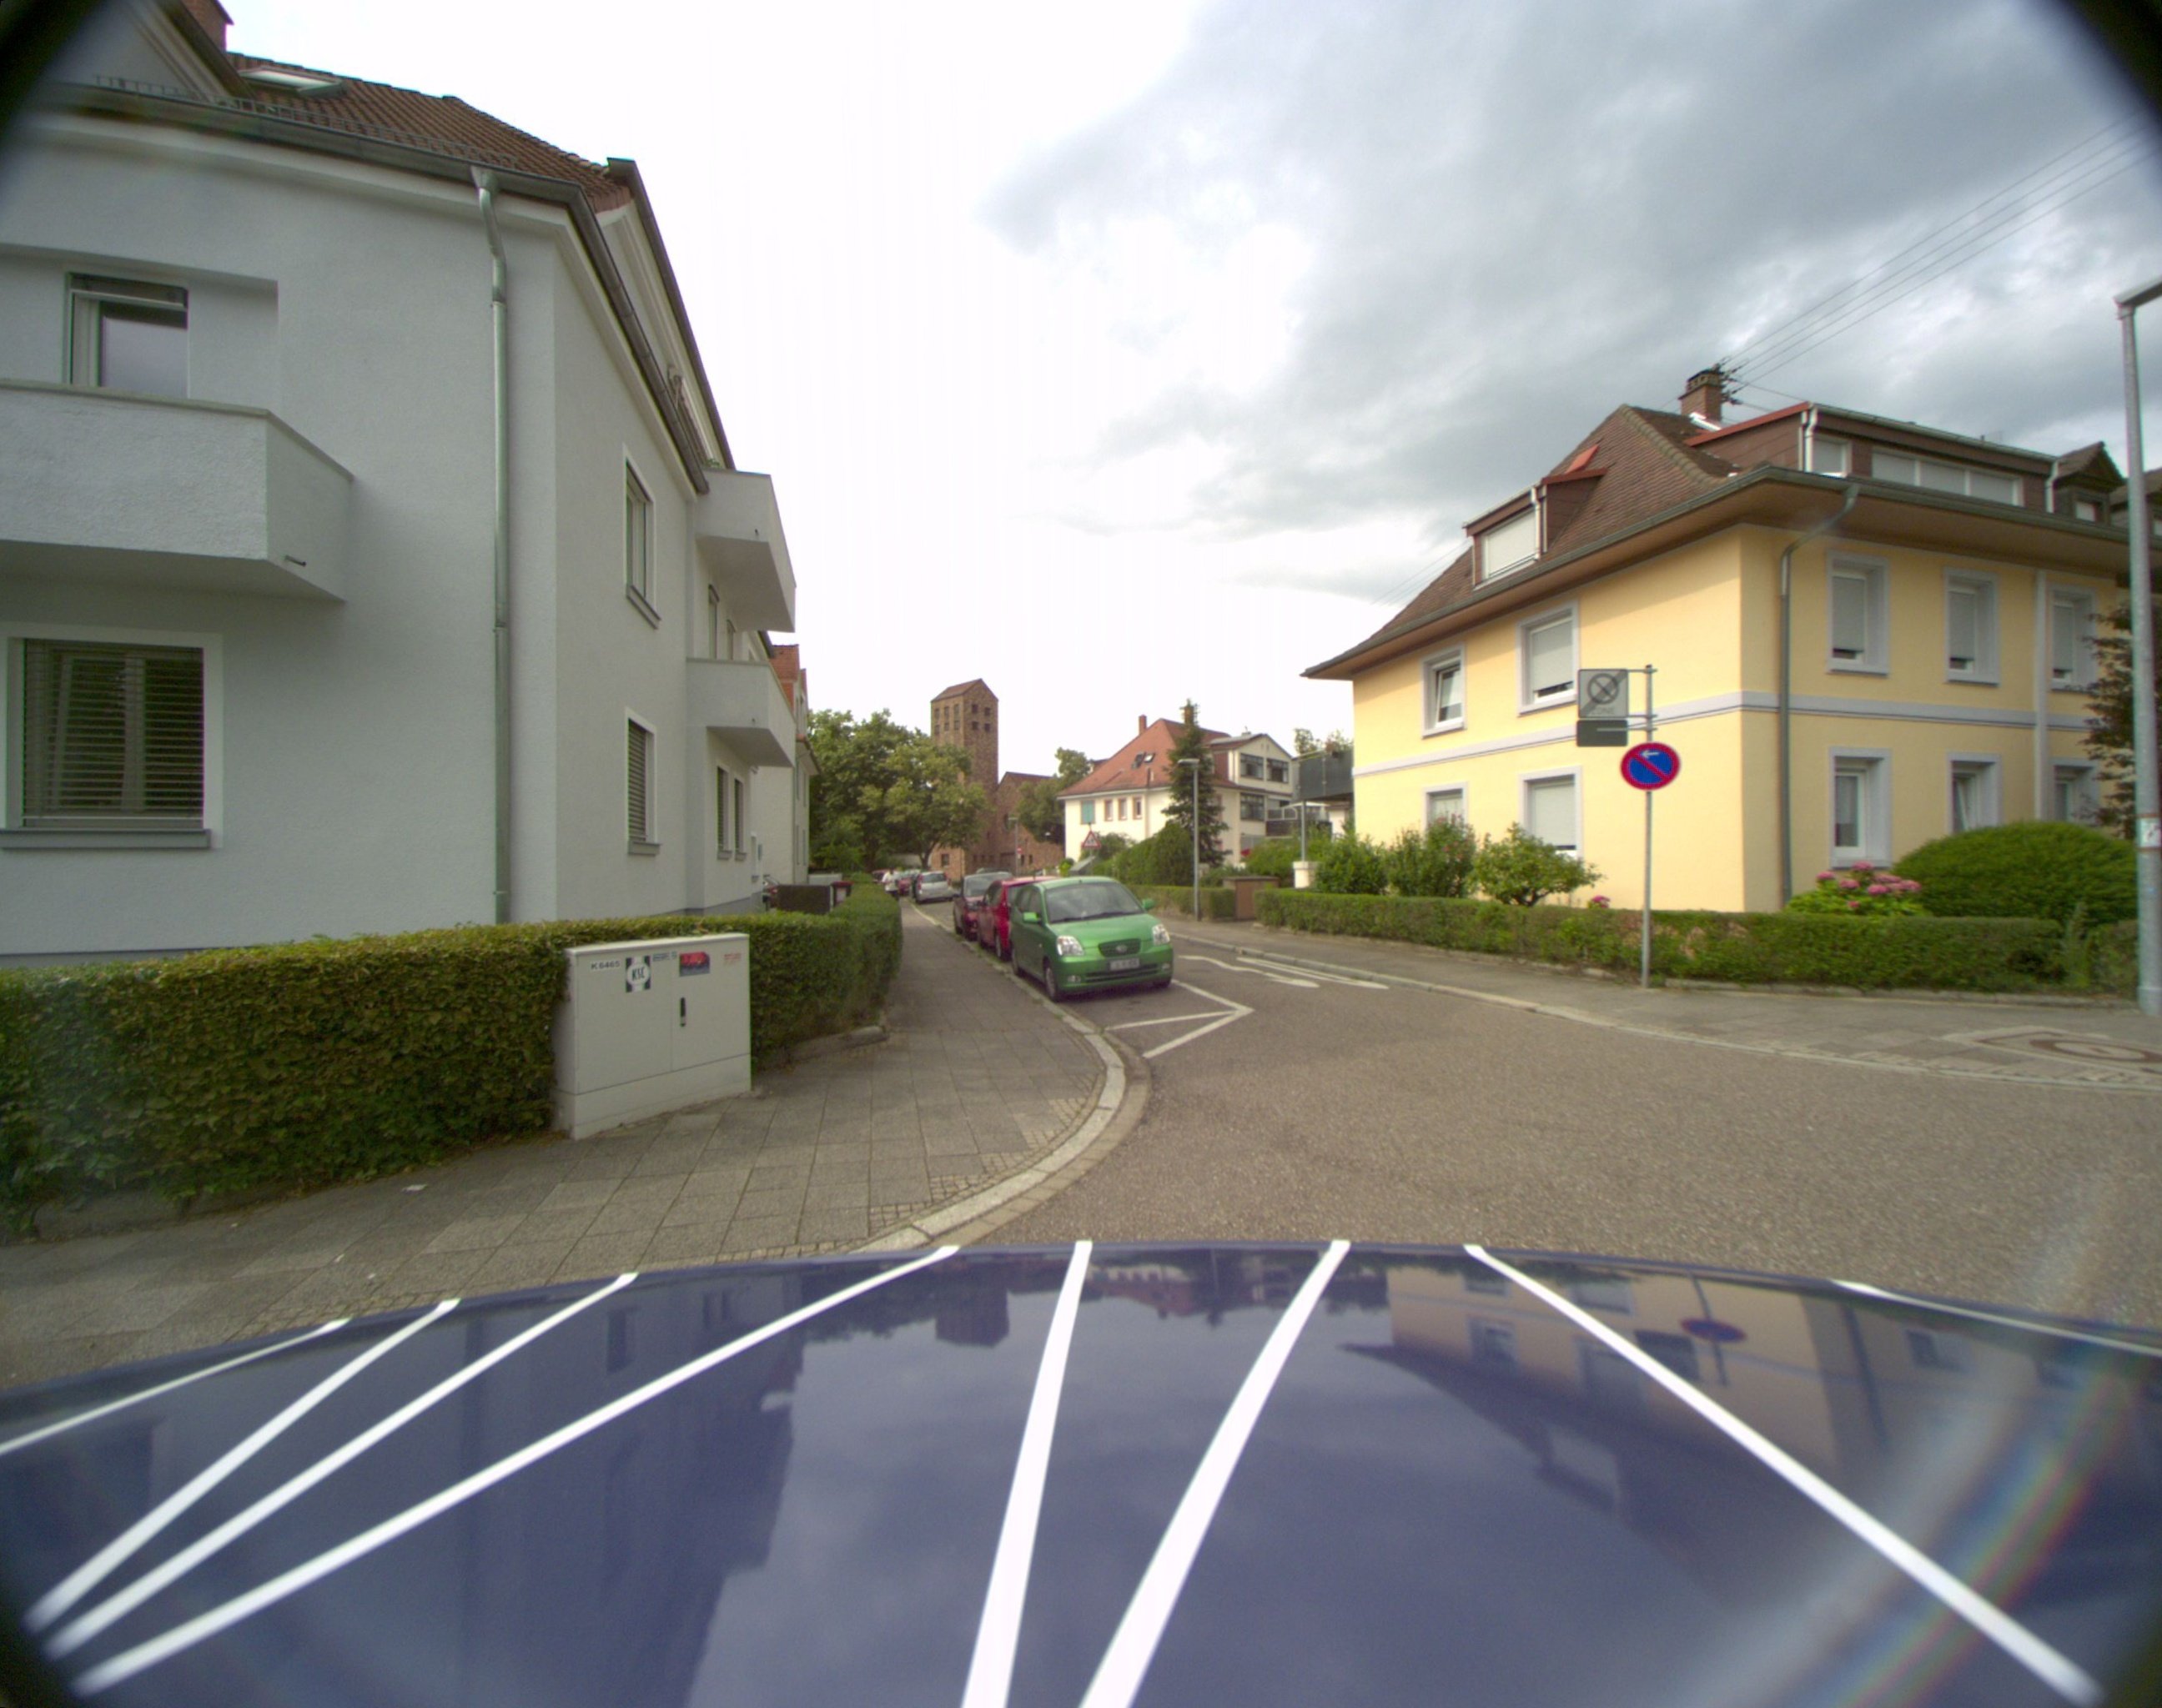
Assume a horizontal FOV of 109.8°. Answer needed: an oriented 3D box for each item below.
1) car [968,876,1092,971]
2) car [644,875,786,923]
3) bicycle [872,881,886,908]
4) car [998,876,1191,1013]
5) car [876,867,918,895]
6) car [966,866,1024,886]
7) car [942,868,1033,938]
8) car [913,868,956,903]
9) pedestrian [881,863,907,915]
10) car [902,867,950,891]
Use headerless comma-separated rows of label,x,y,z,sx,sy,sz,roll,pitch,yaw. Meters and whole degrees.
car,-1.126,1.270,15.096,1.652,1.487,3.477,-4,0,-16
car,-12.209,1.464,25.651,4.002,1.455,1.998,0,-1,-15
bicycle,-8.783,1.728,32.994,0.423,1.097,2.112,0,0,-20
car,0.012,1.095,10.633,1.652,1.413,3.477,-4,0,-16
car,-11.076,1.604,45.704,1.653,1.487,3.474,-4,0,-26
car,-6.721,1.681,59.332,4.230,1.456,1.681,0,1,-16
car,-2.452,1.150,19.224,1.652,1.487,3.477,-4,0,-16
car,-7.187,1.505,37.017,1.652,1.487,3.477,-4,0,-16
pedestrian,-6.962,1.286,28.253,0.884,1.867,1.077,-1,0,-15
car,-10.280,1.629,50.167,1.858,1.472,4.032,2,-1,-30
